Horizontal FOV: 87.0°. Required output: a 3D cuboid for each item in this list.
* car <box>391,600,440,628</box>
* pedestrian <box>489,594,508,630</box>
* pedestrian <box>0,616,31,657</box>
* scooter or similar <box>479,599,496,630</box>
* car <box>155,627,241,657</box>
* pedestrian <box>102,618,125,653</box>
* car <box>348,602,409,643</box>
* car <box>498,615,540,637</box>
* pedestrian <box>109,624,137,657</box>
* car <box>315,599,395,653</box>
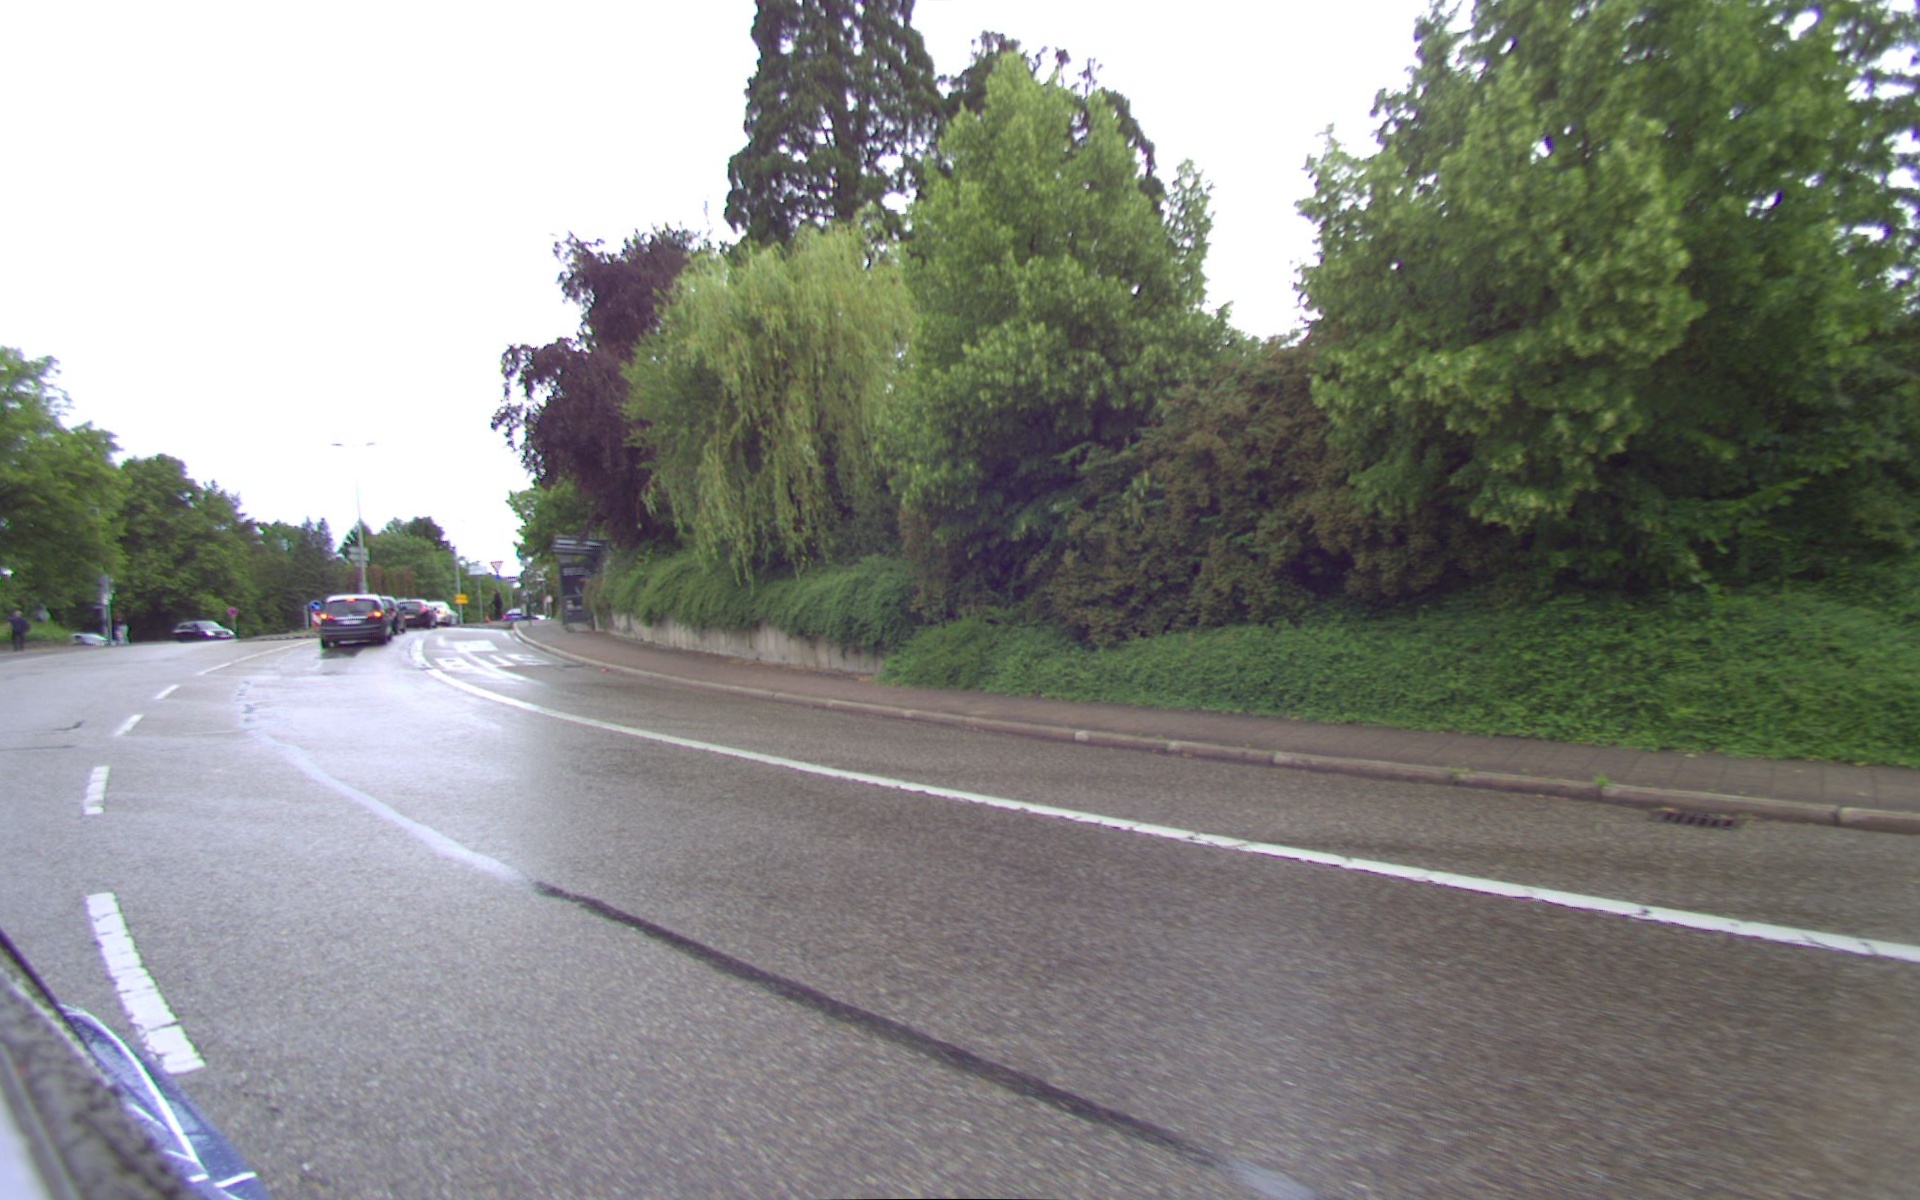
[{"bbox_3d":[-30.658,0.803,57.115,1.802,1.412,4.836,-3,0,-21],"label":"car"},{"bbox_3d":[-23.933,0.615,52.506,0.693,1.821,0.828,-3,-1,-14],"label":"pedestrian"},{"bbox_3d":[-39.750,1.527,42.530,0.913,1.667,1.100,-2,-1,-40],"label":"pedestrian"},{"bbox_3d":[-24.421,0.758,52.366,0.502,1.527,1.322,-3,0,-14],"label":"scooter or similar"},{"bbox_3d":[-45.703,2.513,60.678,4.347,1.425,1.854,-5,-1,16],"label":"car"},{"bbox_3d":[-43.094,1.804,51.544,0.713,1.746,0.822,-2,-1,-29],"label":"pedestrian"},{"bbox_3d":[-23.261,0.925,40.613,1.697,1.475,4.391,-3,0,-25],"label":"car"},{"bbox_3d":[-32.198,1.914,73.945,1.735,1.448,4.681,-4,-1,-11],"label":"car"},{"bbox_3d":[-43.488,2.116,52.601,0.717,1.667,0.817,-3,-1,9],"label":"pedestrian"},{"bbox_3d":[-19.845,0.797,33.367,1.785,1.588,4.701,-2,1,-26],"label":"car"}]
